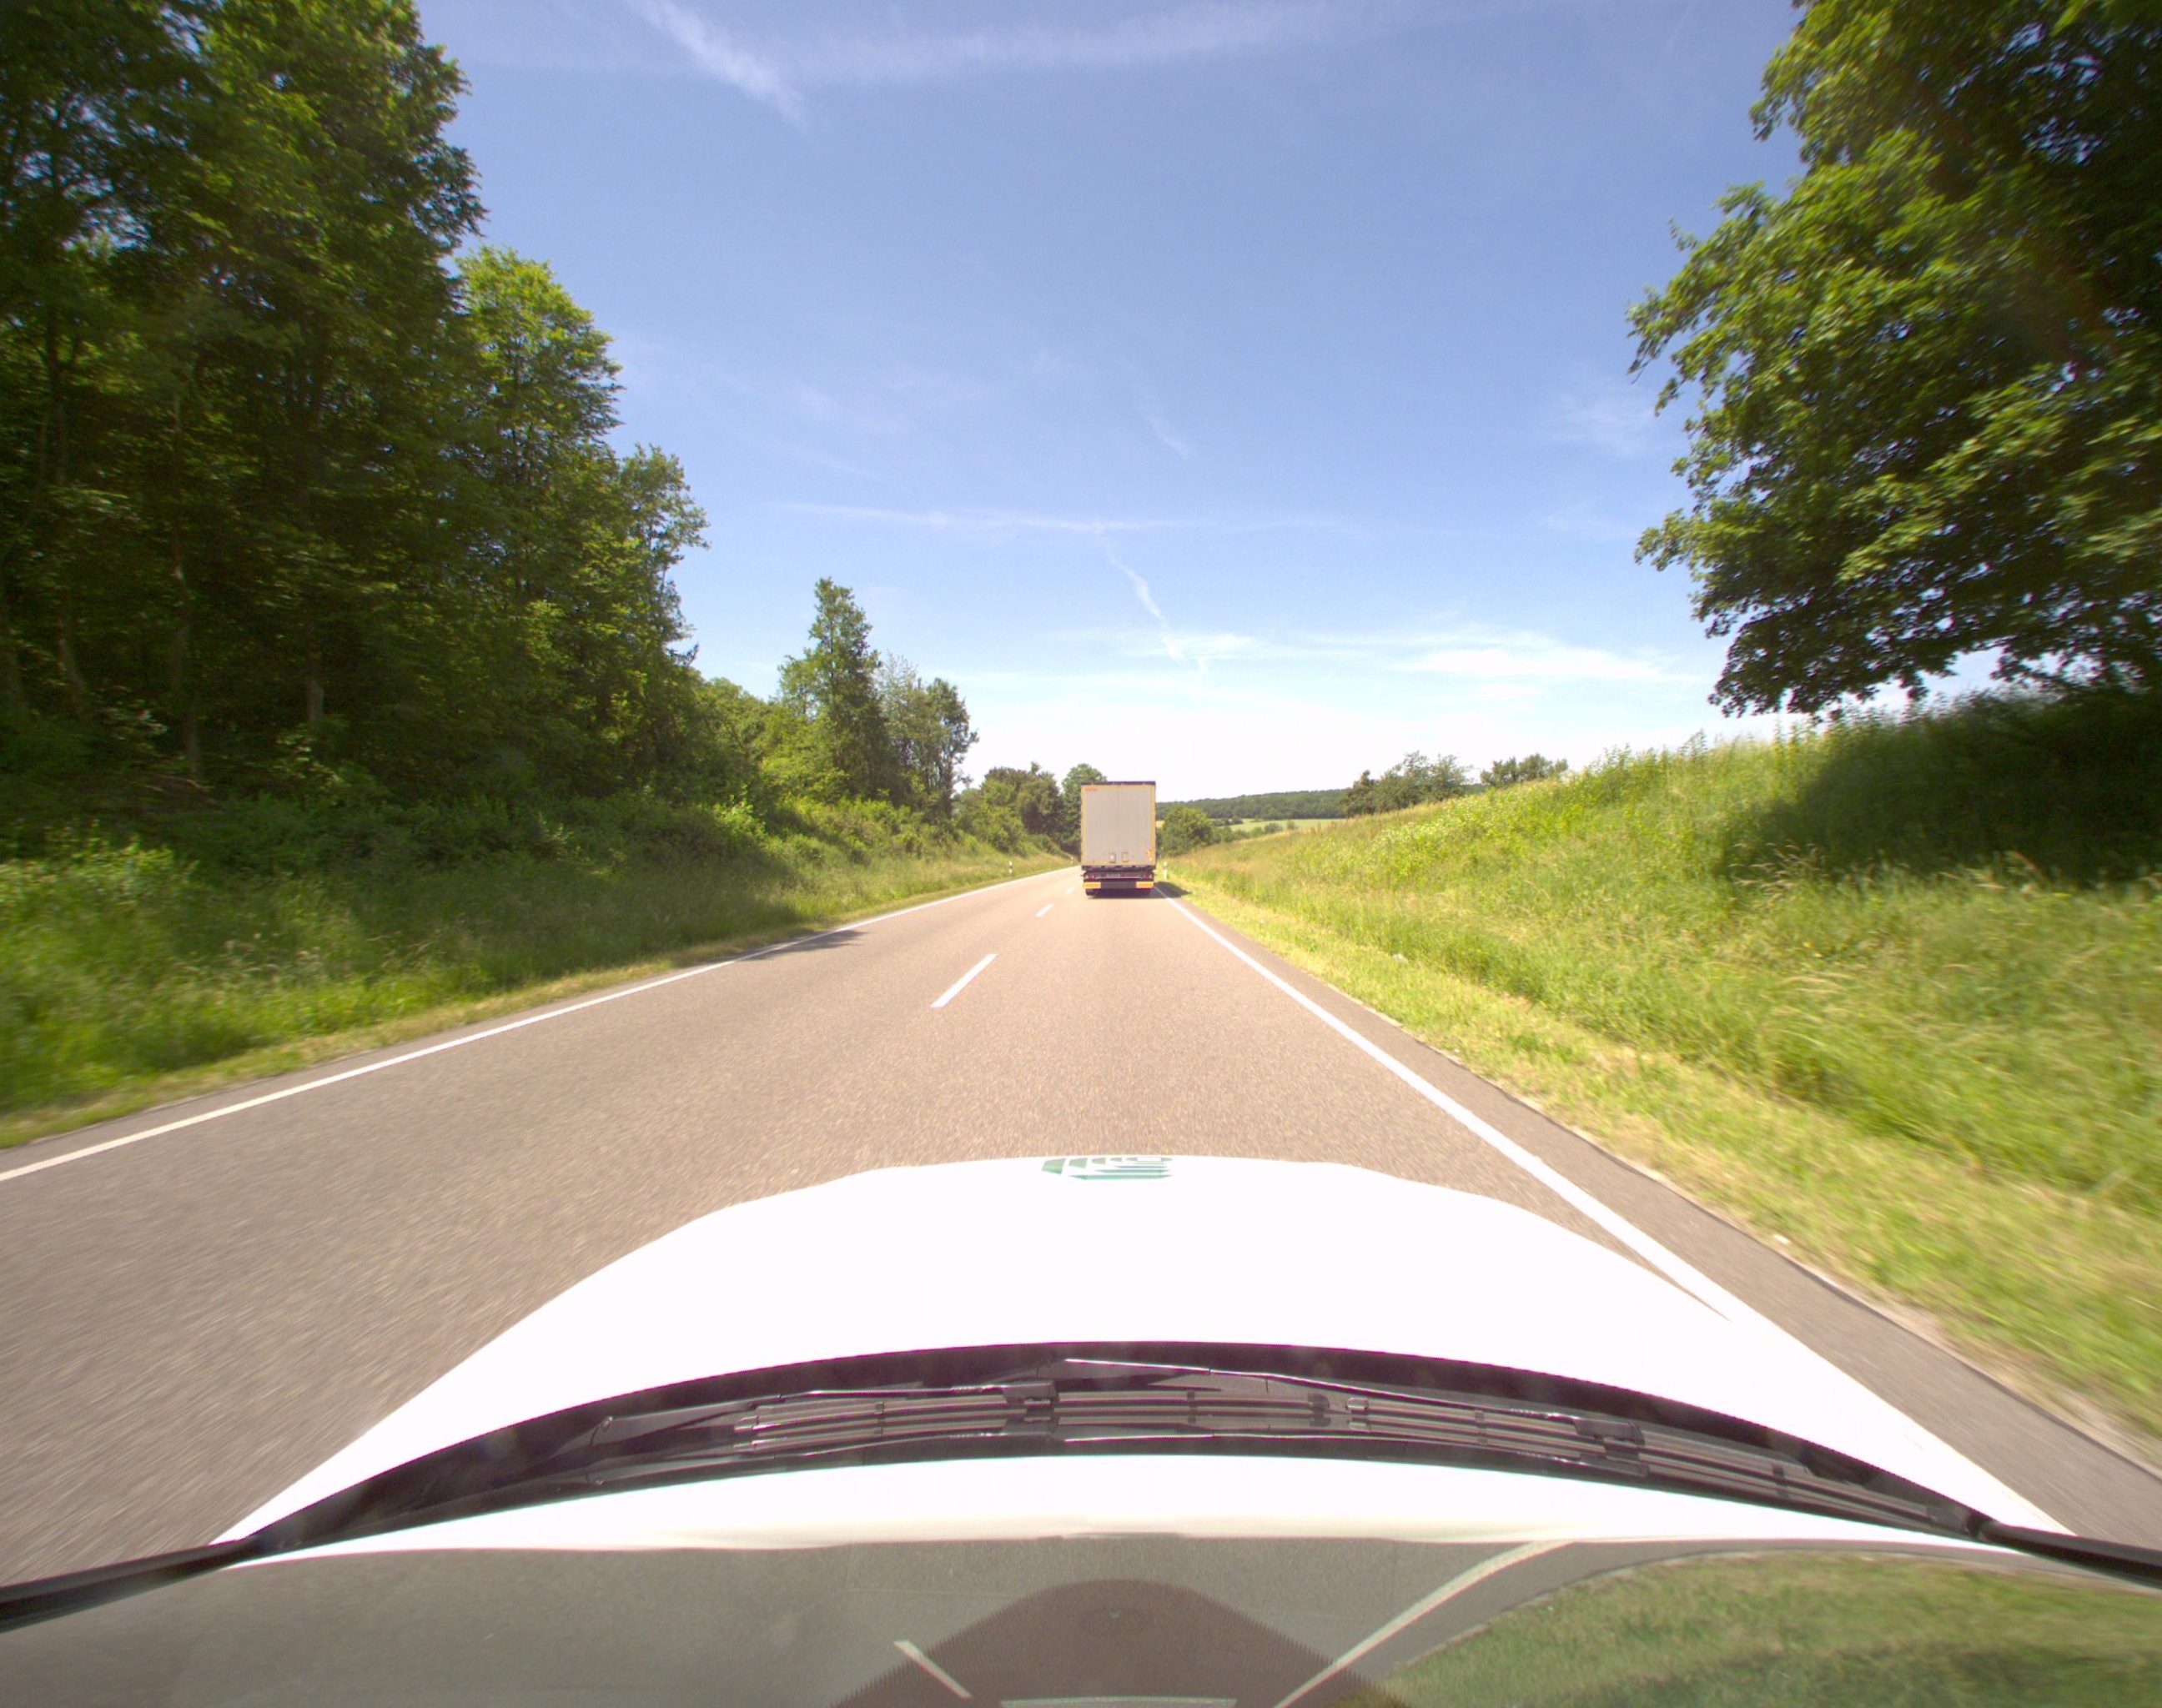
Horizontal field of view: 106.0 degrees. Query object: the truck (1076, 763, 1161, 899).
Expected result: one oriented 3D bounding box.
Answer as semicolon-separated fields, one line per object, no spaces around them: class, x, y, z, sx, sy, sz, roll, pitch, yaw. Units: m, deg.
truck;1.452;-0.783;33.265;2.807;4.532;11.772;-1;0;2
